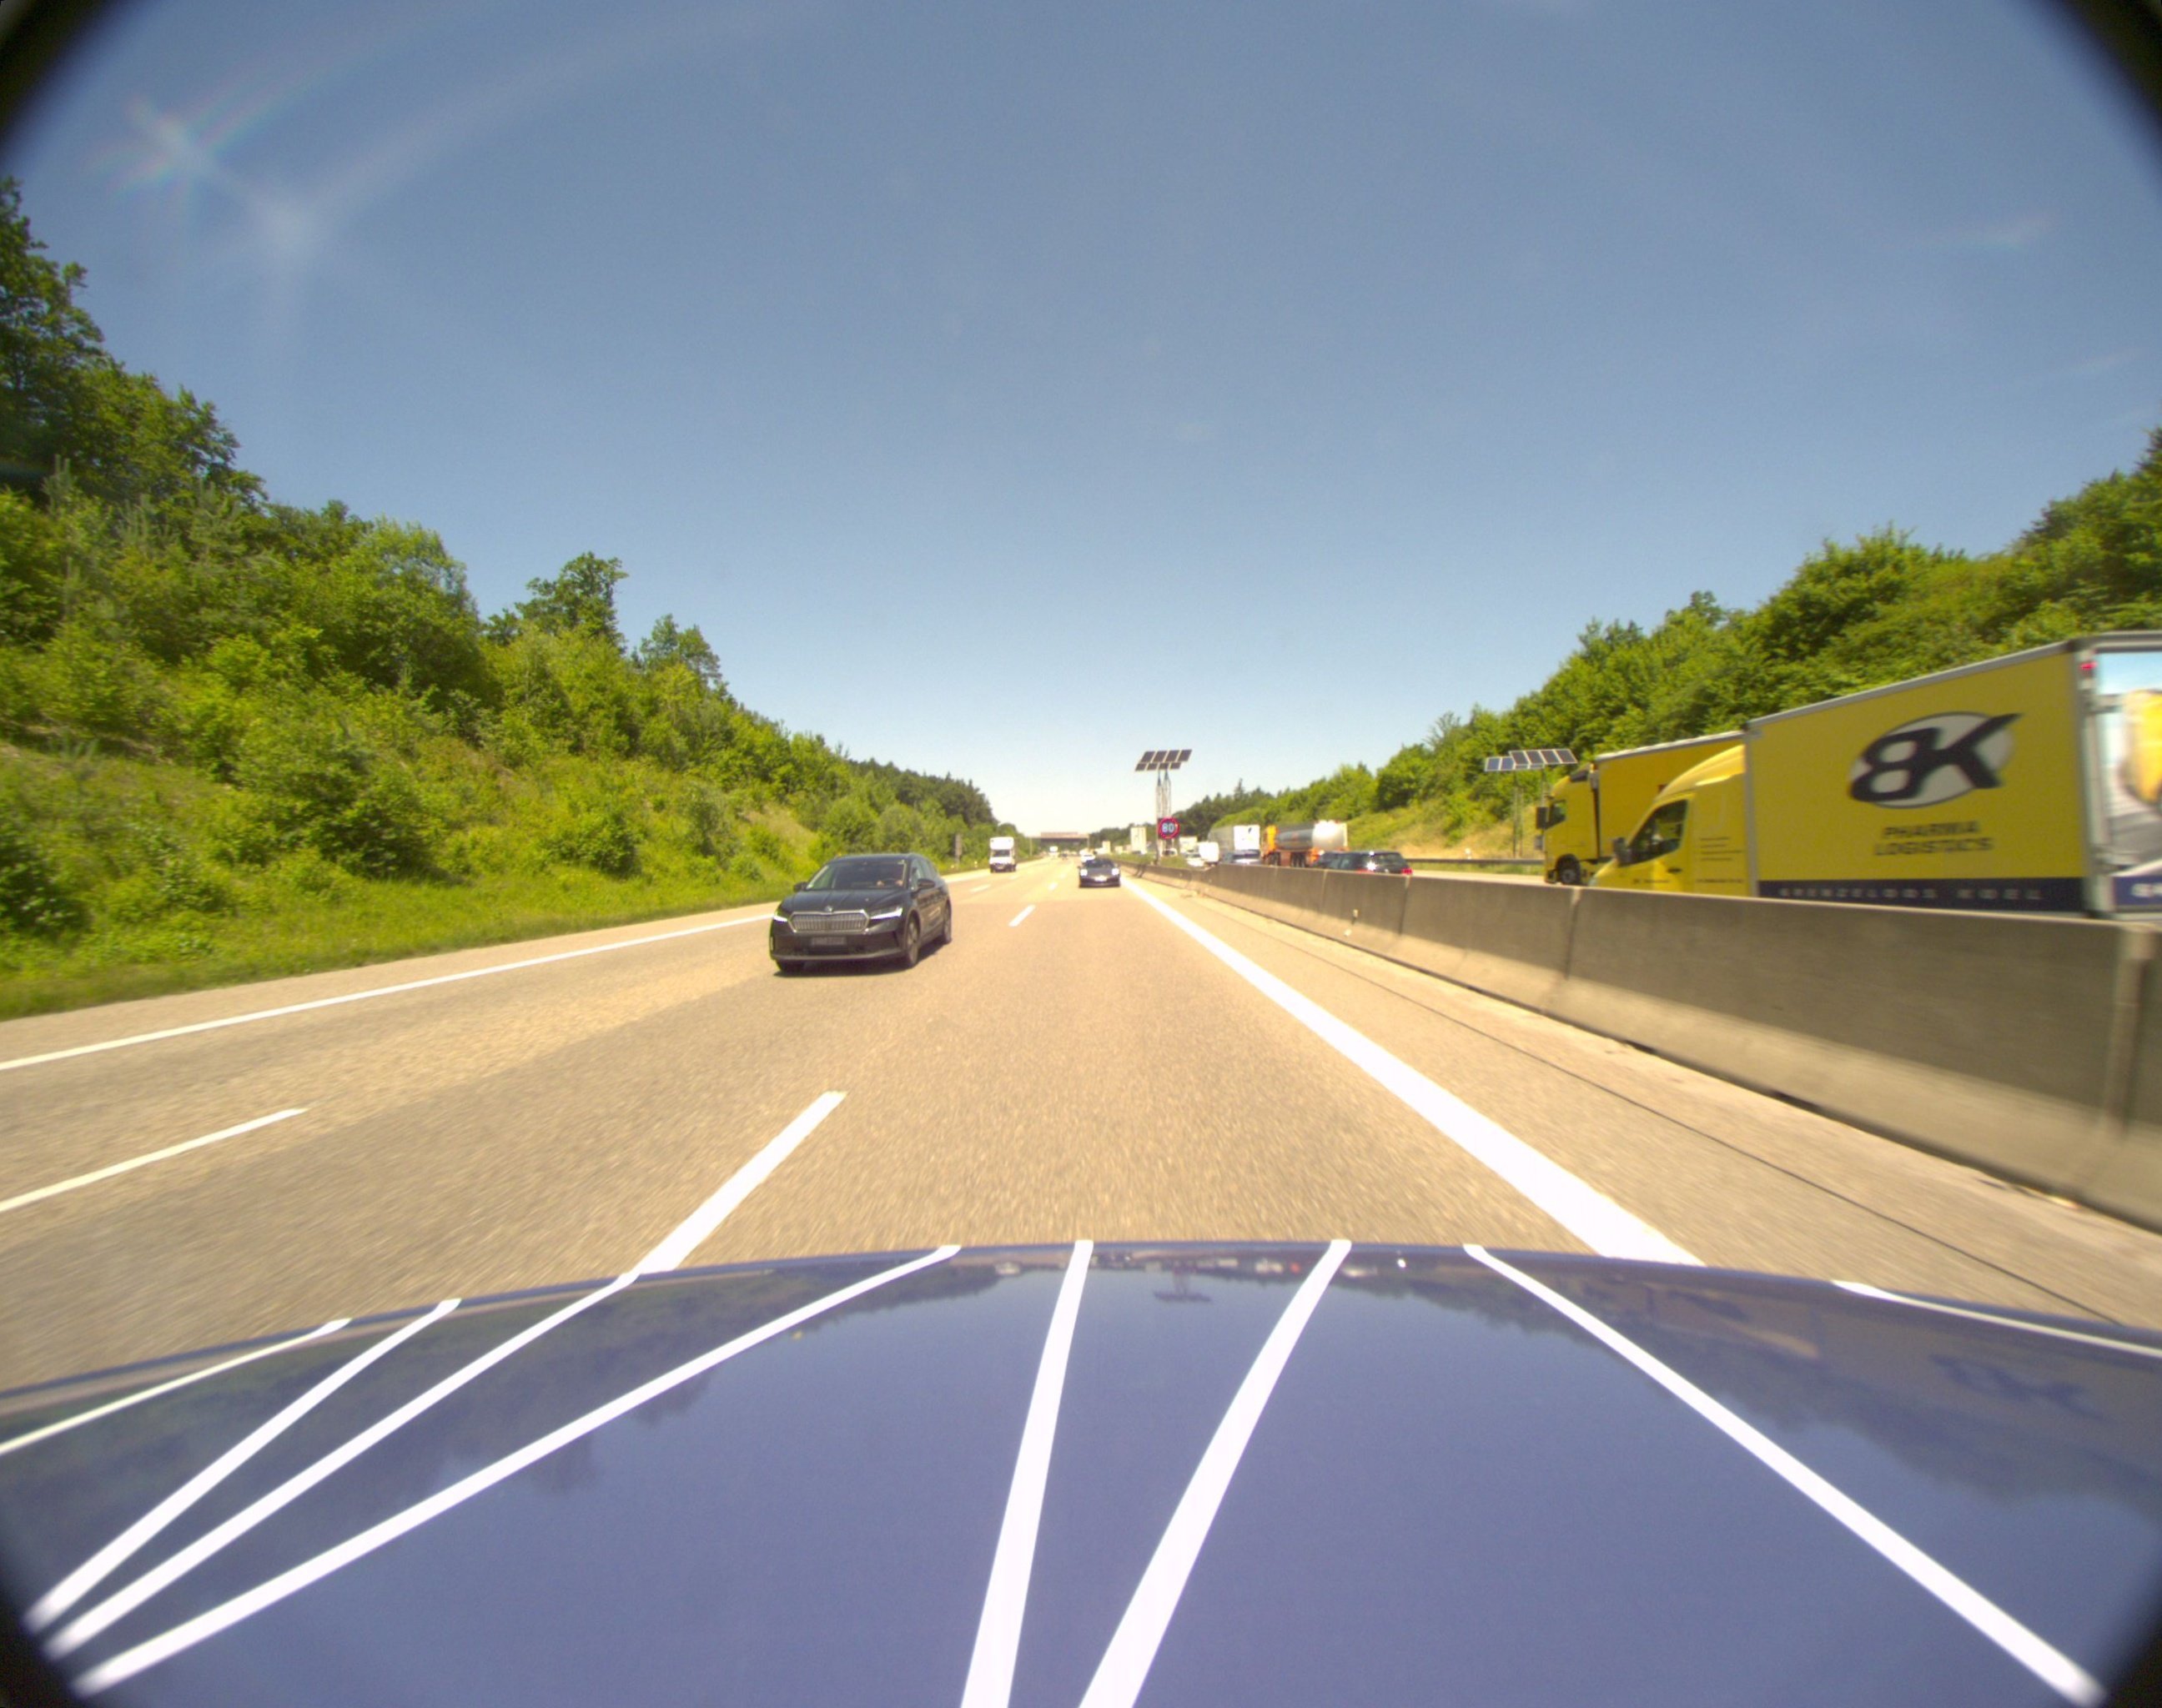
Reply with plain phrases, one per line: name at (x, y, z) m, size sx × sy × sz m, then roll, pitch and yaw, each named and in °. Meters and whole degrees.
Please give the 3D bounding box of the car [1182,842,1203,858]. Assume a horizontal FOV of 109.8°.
car at (14.715, -0.590, 100.447) m, size 2.189 × 1.930 × 5.885 m, roll -2°, pitch 1°, yaw 3°

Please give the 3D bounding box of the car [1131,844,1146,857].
car at (8.847, -0.589, 117.329) m, size 1.831 × 1.905 × 4.970 m, roll -2°, pitch 1°, yaw -1°

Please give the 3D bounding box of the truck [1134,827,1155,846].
truck at (15.958, -4.451, 193.153) m, size 3.706 × 4.431 × 19.448 m, roll -2°, pitch 1°, yaw 1°

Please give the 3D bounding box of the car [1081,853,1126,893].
car at (0.962, 0.732, 31.865) m, size 1.718 × 1.432 × 4.457 m, roll -2°, pitch 1°, yaw 3°

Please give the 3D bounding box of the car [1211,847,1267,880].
car at (8.230, 0.455, 40.016) m, size 1.832 × 1.488 × 4.757 m, roll -2°, pitch 1°, yaw -1°

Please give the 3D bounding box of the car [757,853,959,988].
car at (-3.231, 0.860, 12.059) m, size 1.990 × 1.610 × 4.455 m, roll -2°, pitch 1°, yaw -2°

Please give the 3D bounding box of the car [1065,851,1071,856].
car at (-3.705, -0.155, 225.515) m, size 1.719 × 1.432 × 4.015 m, roll -2°, pitch 1°, yaw -1°

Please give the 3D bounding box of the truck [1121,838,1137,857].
truck at (15.043, -2.100, 239.333) m, size 3.706 × 5.470 × 19.448 m, roll -2°, pitch 1°, yaw 1°

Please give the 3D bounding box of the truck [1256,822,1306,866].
truck at (16.074, -0.823, 61.302) m, size 2.500 × 3.346 × 5.184 m, roll -2°, pitch 1°, yaw -1°

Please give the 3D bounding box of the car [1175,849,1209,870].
car at (8.751, 0.393, 60.052) m, size 1.832 × 1.488 × 4.757 m, roll -2°, pitch 1°, yaw -1°

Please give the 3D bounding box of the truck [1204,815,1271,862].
truck at (16.519, -1.645, 81.931) m, size 3.706 × 4.431 × 17.378 m, roll -2°, pitch 1°, yaw 1°

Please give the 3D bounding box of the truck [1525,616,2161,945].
truck at (16.489, -1.167, 16.404) m, size 3.706 × 4.431 × 17.378 m, roll -2°, pitch 1°, yaw 1°

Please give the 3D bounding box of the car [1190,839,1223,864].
car at (12.735, -0.294, 77.494) m, size 2.190 × 2.371 × 6.539 m, roll -2°, pitch 1°, yaw 0°

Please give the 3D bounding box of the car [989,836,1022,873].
car at (-7.190, -0.042, 73.588) m, size 2.303 × 3.317 × 7.620 m, roll -2°, pitch 1°, yaw 0°

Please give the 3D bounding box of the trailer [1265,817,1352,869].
trailer at (16.213, -0.706, 55.271) m, size 2.584 × 3.274 × 11.694 m, roll -2°, pitch 0°, yaw -1°

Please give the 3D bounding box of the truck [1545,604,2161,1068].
truck at (8.183, -0.213, 8.264) m, size 2.273 × 2.999 × 6.776 m, roll -2°, pitch 1°, yaw 2°

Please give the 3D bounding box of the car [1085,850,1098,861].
car at (1.381, 0.177, 100.596) m, size 1.718 × 1.432 × 4.456 m, roll -1°, pitch 1°, yaw 0°

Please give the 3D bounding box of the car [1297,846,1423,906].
car at (7.988, 0.546, 22.295) m, size 1.832 × 1.488 × 4.757 m, roll -2°, pitch 1°, yaw -1°

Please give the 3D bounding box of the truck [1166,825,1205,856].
truck at (16.535, -2.196, 122.311) m, size 3.706 × 4.431 × 19.448 m, roll -2°, pitch 1°, yaw 1°

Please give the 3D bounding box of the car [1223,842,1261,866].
car at (12.475, -0.040, 59.108) m, size 1.832 × 1.753 × 4.757 m, roll -2°, pitch 1°, yaw -1°

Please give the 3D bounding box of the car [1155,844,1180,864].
car at (9.122, -0.051, 80.466) m, size 1.831 × 1.966 × 5.664 m, roll -2°, pitch 1°, yaw 0°

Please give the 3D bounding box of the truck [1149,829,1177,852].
truck at (16.799, -2.815, 157.118) m, size 3.706 × 4.431 × 19.448 m, roll -2°, pitch 1°, yaw 1°

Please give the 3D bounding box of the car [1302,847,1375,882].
car at (12.504, 0.473, 37.270) m, size 1.832 × 1.488 × 4.757 m, roll -2°, pitch 1°, yaw -1°

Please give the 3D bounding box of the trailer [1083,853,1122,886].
trailer at (0.995, 0.689, 35.232) m, size 1.689 × 1.399 × 3.046 m, roll -2°, pitch 0°, yaw 2°
